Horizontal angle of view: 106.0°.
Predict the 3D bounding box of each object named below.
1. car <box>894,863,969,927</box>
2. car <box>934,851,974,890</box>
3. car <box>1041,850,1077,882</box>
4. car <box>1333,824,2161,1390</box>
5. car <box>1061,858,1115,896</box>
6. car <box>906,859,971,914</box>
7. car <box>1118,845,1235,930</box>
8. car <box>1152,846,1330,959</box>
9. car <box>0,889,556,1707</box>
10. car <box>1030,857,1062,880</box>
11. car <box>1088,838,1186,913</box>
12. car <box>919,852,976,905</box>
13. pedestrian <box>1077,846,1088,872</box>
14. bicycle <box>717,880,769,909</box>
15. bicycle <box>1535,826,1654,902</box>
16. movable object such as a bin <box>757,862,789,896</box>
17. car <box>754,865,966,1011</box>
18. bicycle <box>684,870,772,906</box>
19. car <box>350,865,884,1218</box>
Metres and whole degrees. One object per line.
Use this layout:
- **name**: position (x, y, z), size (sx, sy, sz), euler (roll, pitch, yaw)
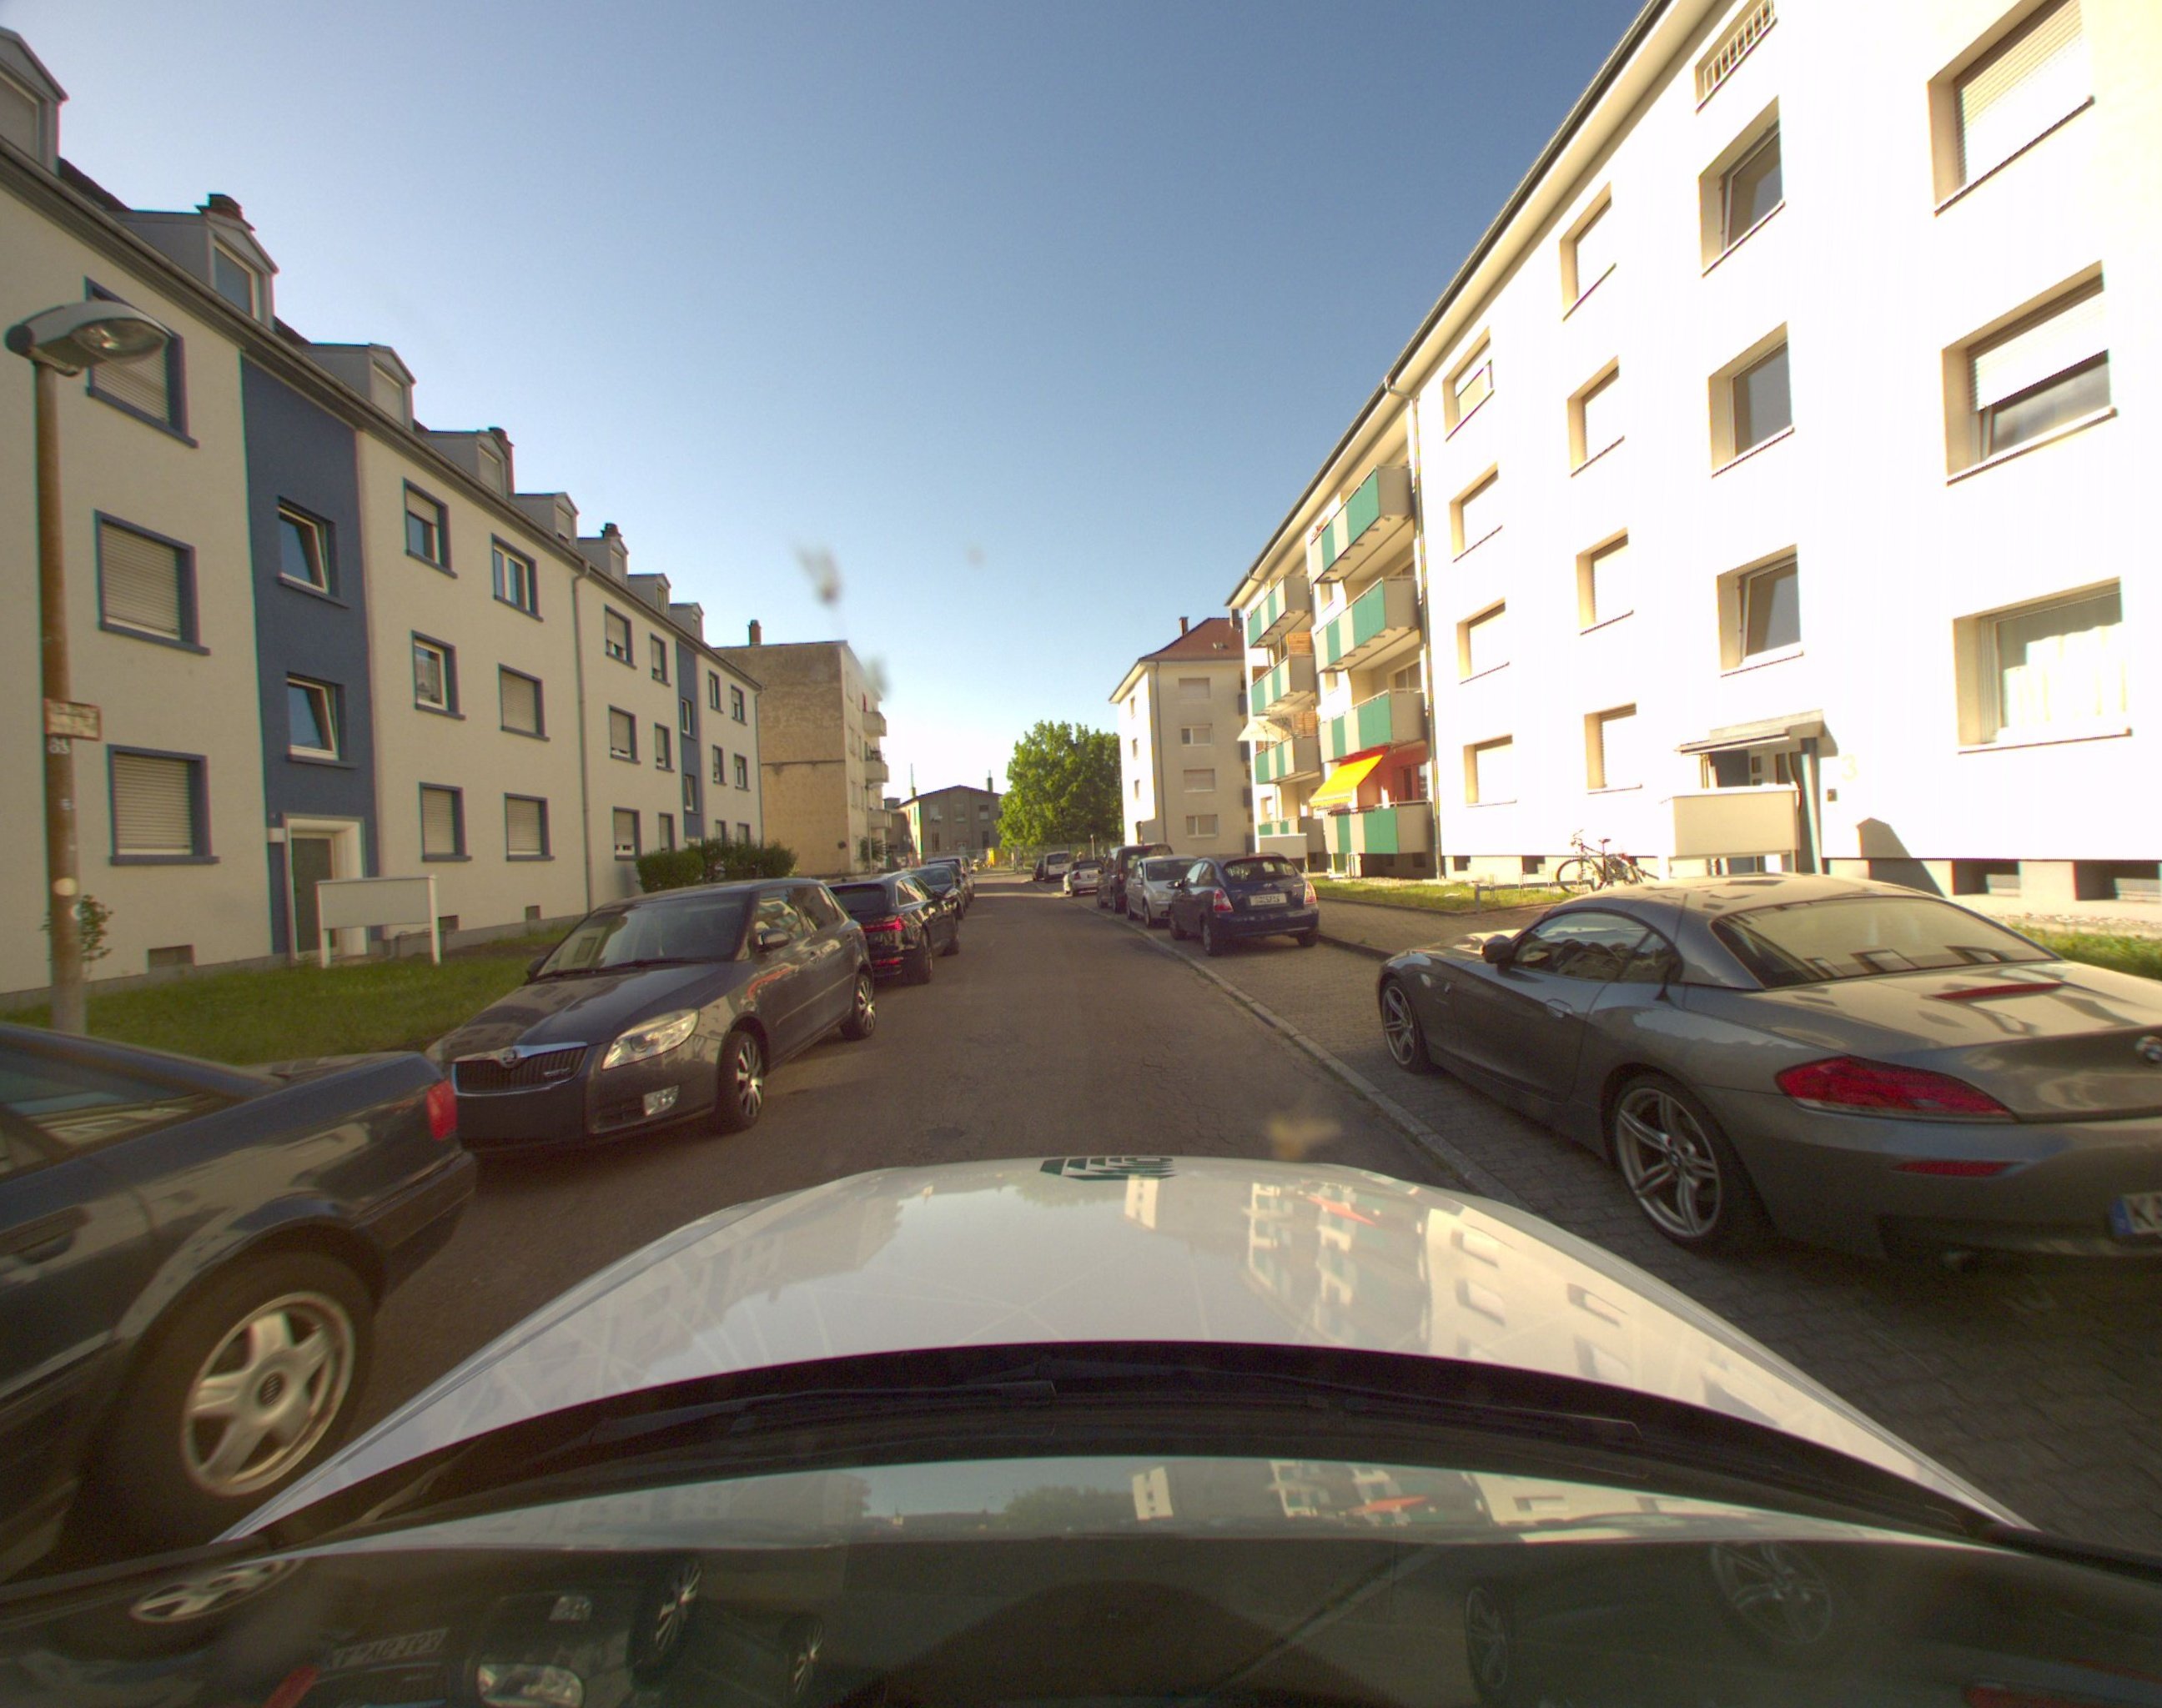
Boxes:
- **car**: position (-4.046, 1.053, 22.523), size (1.657, 1.443, 3.862), euler (-5, 0, -7)
- **car**: position (-7.448, 0.969, 48.110), size (1.992, 2.013, 4.443), euler (-5, 0, -7)
- **car**: position (-1.387, 0.724, 49.997), size (1.764, 1.739, 4.085), euler (-5, 0, -7)
- **car**: position (2.923, 0.654, 4.315), size (1.681, 1.363, 4.238), euler (-6, 0, -1)
- **car**: position (0.231, 0.942, 33.983), size (1.715, 1.364, 4.045), euler (-5, -1, -6)
- **car**: position (-4.672, 1.031, 27.228), size (1.831, 1.515, 3.990), euler (-5, 0, -7)
- **car**: position (2.015, 0.670, 18.300), size (1.679, 1.587, 4.004), euler (-4, 0, -6)
- **car**: position (2.463, 0.692, 13.692), size (1.735, 1.431, 4.349), euler (-5, 0, -5)
- **car**: position (-2.769, 0.952, 0.880), size (1.564, 1.464, 4.260), euler (-5, 1, -1)
- **car**: position (-2.419, 0.950, 55.355), size (1.764, 1.362, 4.085), euler (-5, 0, -7)
- **car**: position (1.495, 0.603, 23.559), size (1.895, 1.855, 4.332), euler (-4, -1, -8)
- **car**: position (-5.271, 0.963, 32.606), size (1.895, 1.855, 4.185), euler (-4, -1, -7)
- **pedestrian**: position (0.109, 0.378, 58.842), size (0.651, 1.815, 0.614), euler (-5, 0, 3)
- **bicycle**: position (-12.769, 1.517, 30.771), size (1.644, 0.936, 0.546), euler (-5, 0, -5)
- **bicycle**: position (8.211, 0.136, 13.126), size (0.648, 1.068, 1.731), euler (-8, 2, -3)
- **movable object such as a bin**: position (-15.035, 1.186, 39.801), size (1.068, 1.539, 1.353), euler (-5, 0, -9)
- **car**: position (-2.847, 0.985, 11.599), size (1.739, 1.431, 4.595), euler (-6, 0, -2)
- **bicycle**: position (-12.165, 1.170, 28.174), size (2.672, 1.130, 0.770), euler (-1, 0, -14)
- **car**: position (-2.693, 0.935, 5.763), size (1.473, 1.477, 3.632), euler (-7, 0, 1)
